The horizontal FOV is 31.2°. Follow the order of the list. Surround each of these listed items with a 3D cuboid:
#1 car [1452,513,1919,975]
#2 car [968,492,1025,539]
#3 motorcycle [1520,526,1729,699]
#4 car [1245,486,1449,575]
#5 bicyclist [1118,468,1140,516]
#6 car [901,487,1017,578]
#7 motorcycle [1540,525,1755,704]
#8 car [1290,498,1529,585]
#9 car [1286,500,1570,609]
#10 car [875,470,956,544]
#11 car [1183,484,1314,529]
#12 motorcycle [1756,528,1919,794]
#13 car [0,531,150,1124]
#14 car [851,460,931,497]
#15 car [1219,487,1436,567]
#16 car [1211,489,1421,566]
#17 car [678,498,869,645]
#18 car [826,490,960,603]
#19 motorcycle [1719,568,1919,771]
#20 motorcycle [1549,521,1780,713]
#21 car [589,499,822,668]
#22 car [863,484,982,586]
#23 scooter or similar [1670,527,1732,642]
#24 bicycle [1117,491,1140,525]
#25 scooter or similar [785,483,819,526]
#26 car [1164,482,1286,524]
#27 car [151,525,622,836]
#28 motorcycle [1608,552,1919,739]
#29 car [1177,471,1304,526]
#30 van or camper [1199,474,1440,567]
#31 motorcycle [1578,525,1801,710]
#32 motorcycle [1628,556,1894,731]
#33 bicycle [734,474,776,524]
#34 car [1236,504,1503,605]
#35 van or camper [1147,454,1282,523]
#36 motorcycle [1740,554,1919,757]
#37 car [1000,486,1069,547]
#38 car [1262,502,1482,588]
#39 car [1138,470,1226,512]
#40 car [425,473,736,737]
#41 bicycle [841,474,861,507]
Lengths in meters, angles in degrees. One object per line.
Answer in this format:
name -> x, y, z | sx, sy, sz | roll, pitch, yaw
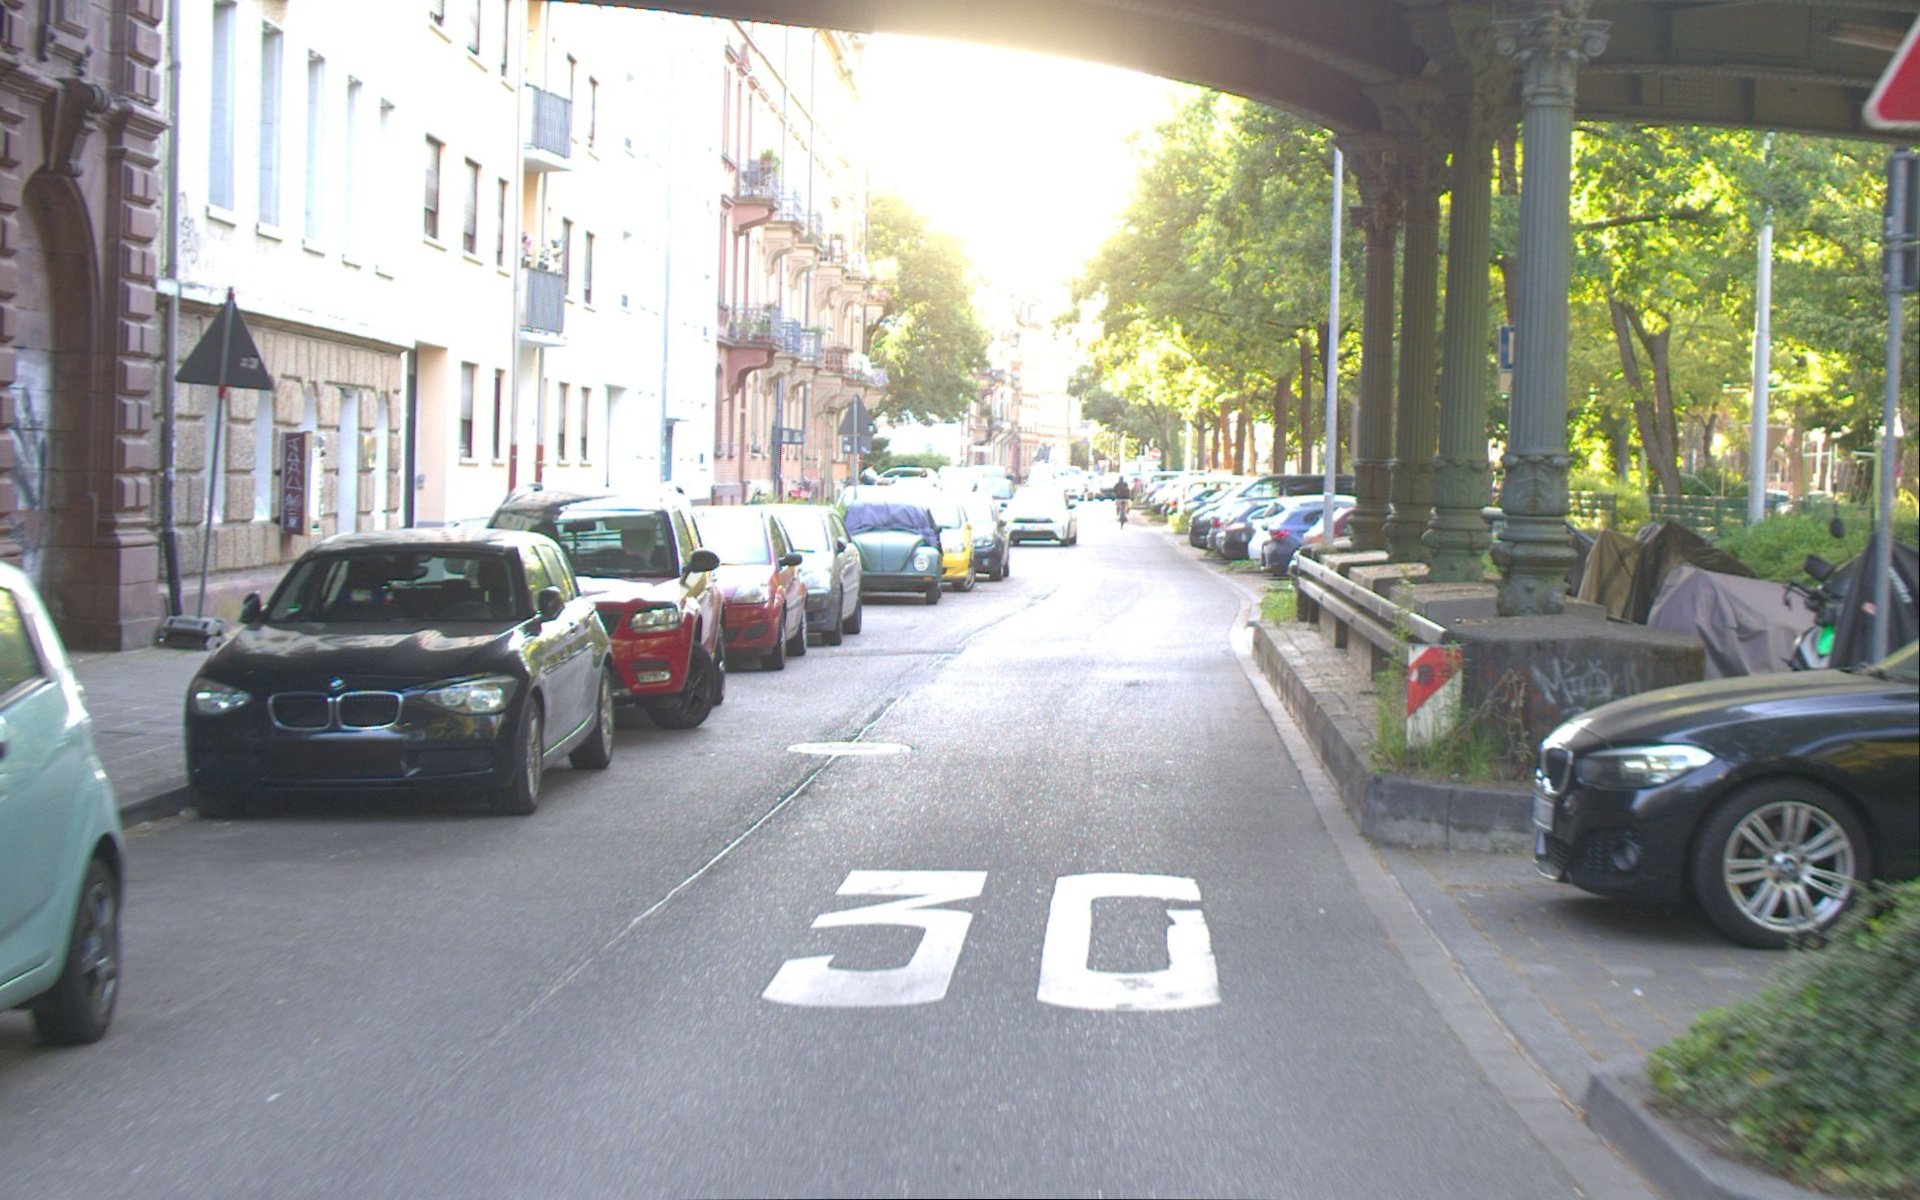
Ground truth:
car -> 4.206, 0.575, 13.033 | 4.374, 1.572, 1.674 | 3, 1, 0
car -> 1.152, -2.655, 108.067 | 1.504, 1.430, 2.752 | 1, 2, 7
motorcycle -> 5.752, 0.105, 29.766 | 1.602, 1.403, 0.711 | 3, 1, 22
car -> 7.448, -1.336, 66.377 | 3.782, 1.640, 1.664 | 1, 1, 3
bicyclist -> 5.721, -3.660, 116.445 | 0.627, 1.567, 0.802 | 3, 0, 1
car -> 0.021, -1.192, 58.957 | 1.739, 1.474, 4.000 | 1, 2, 3
motorcycle -> 5.777, 0.116, 28.895 | 1.602, 1.403, 0.711 | 3, 1, 22
car -> 7.615, -0.998, 58.523 | 3.782, 1.396, 1.767 | 1, 1, -1
car -> 6.636, -0.650, 48.998 | 3.782, 1.467, 1.635 | 1, 1, -1
car -> -1.066, -2.317, 84.750 | 1.752, 1.700, 4.201 | 3, 2, 2
car -> 9.299, -3.033, 111.170 | 4.081, 1.437, 1.762 | 0, 2, 0
motorcycle -> 5.010, 0.314, 16.872 | 1.929, 1.233, 0.905 | 3, 1, -23
car -> -3.302, 0.601, 8.745 | 1.594, 1.542, 3.915 | 0, 1, -1
car -> -3.616, -6.384, 180.731 | 3.987, 1.700, 2.000 | 3, 1, 3
car -> 7.605, -1.507, 71.099 | 4.400, 1.572, 1.664 | 1, 1, 7
car -> 7.609, -1.546, 73.706 | 4.400, 1.572, 1.664 | 1, 1, 5
car -> -1.967, -0.352, 37.228 | 1.637, 1.461, 4.000 | -1, 2, 3
car -> -0.920, -0.793, 48.907 | 1.567, 1.512, 3.782 | 1, 2, 4
motorcycle -> 5.042, 0.383, 18.565 | 1.720, 1.026, 0.812 | 2, 1, -32
motorcycle -> 5.510, 0.125, 26.893 | 1.602, 1.403, 0.711 | 3, 1, 22
car -> -2.309, -0.201, 32.091 | 1.689, 1.436, 4.000 | 1, 2, 2
car -> -0.557, -1.052, 54.110 | 1.702, 1.520, 3.774 | 1, 2, 2
scooter or similar -> 8.626, -0.179, 40.053 | 0.477, 1.293, 1.325 | 3, 1, 5
bicycle -> 5.693, -3.099, 116.368 | 0.641, 1.096, 1.944 | 3, 1, 1
scooter or similar -> -4.861, -2.937, 105.976 | 0.783, 1.218, 2.704 | 3, 1, 2
car -> 9.330, -3.421, 120.969 | 4.221, 1.448, 1.648 | 0, 2, 6
car -> -2.988, 0.347, 18.714 | 1.717, 1.459, 4.000 | 1, 2, 3
motorcycle -> 5.309, 0.301, 22.605 | 1.831, 1.128, 0.851 | 3, 1, -21
car -> 9.490, -3.444, 116.504 | 4.220, 1.857, 1.762 | 0, 2, 3
van or camper -> 8.238, -1.843, 79.192 | 5.415, 2.020, 2.029 | 1, 3, 5
motorcycle -> 5.897, 0.134, 27.788 | 1.602, 1.403, 0.711 | 3, 1, 22
motorcycle -> 5.557, 0.299, 23.878 | 1.599, 1.128, 0.713 | 3, 1, -14
bicycle -> -5.240, -2.585, 87.963 | 0.737, 1.202, 2.514 | 3, 3, 3
car -> 6.018, -0.673, 50.857 | 3.782, 1.396, 1.827 | 1, 1, 3
van or camper -> 9.842, -4.310, 133.469 | 4.981, 2.369, 2.185 | 3, 1, 0
motorcycle -> 5.501, 0.336, 20.244 | 1.720, 1.128, 0.712 | 2, 1, -32
car -> 1.928, -2.156, 88.001 | 1.668, 1.426, 4.000 | -1, 3, 3
car -> 7.297, -0.974, 60.845 | 3.783, 1.442, 1.664 | 1, 1, 8
car -> 10.574, -5.187, 163.736 | 3.987, 1.787, 1.859 | 3, 1, -1
car -> -2.614, -0.029, 24.557 | 1.717, 1.702, 4.323 | 1, 2, 0
bicycle -> -4.089, -4.112, 129.028 | 0.705, 1.143, 1.890 | 3, 1, -1
